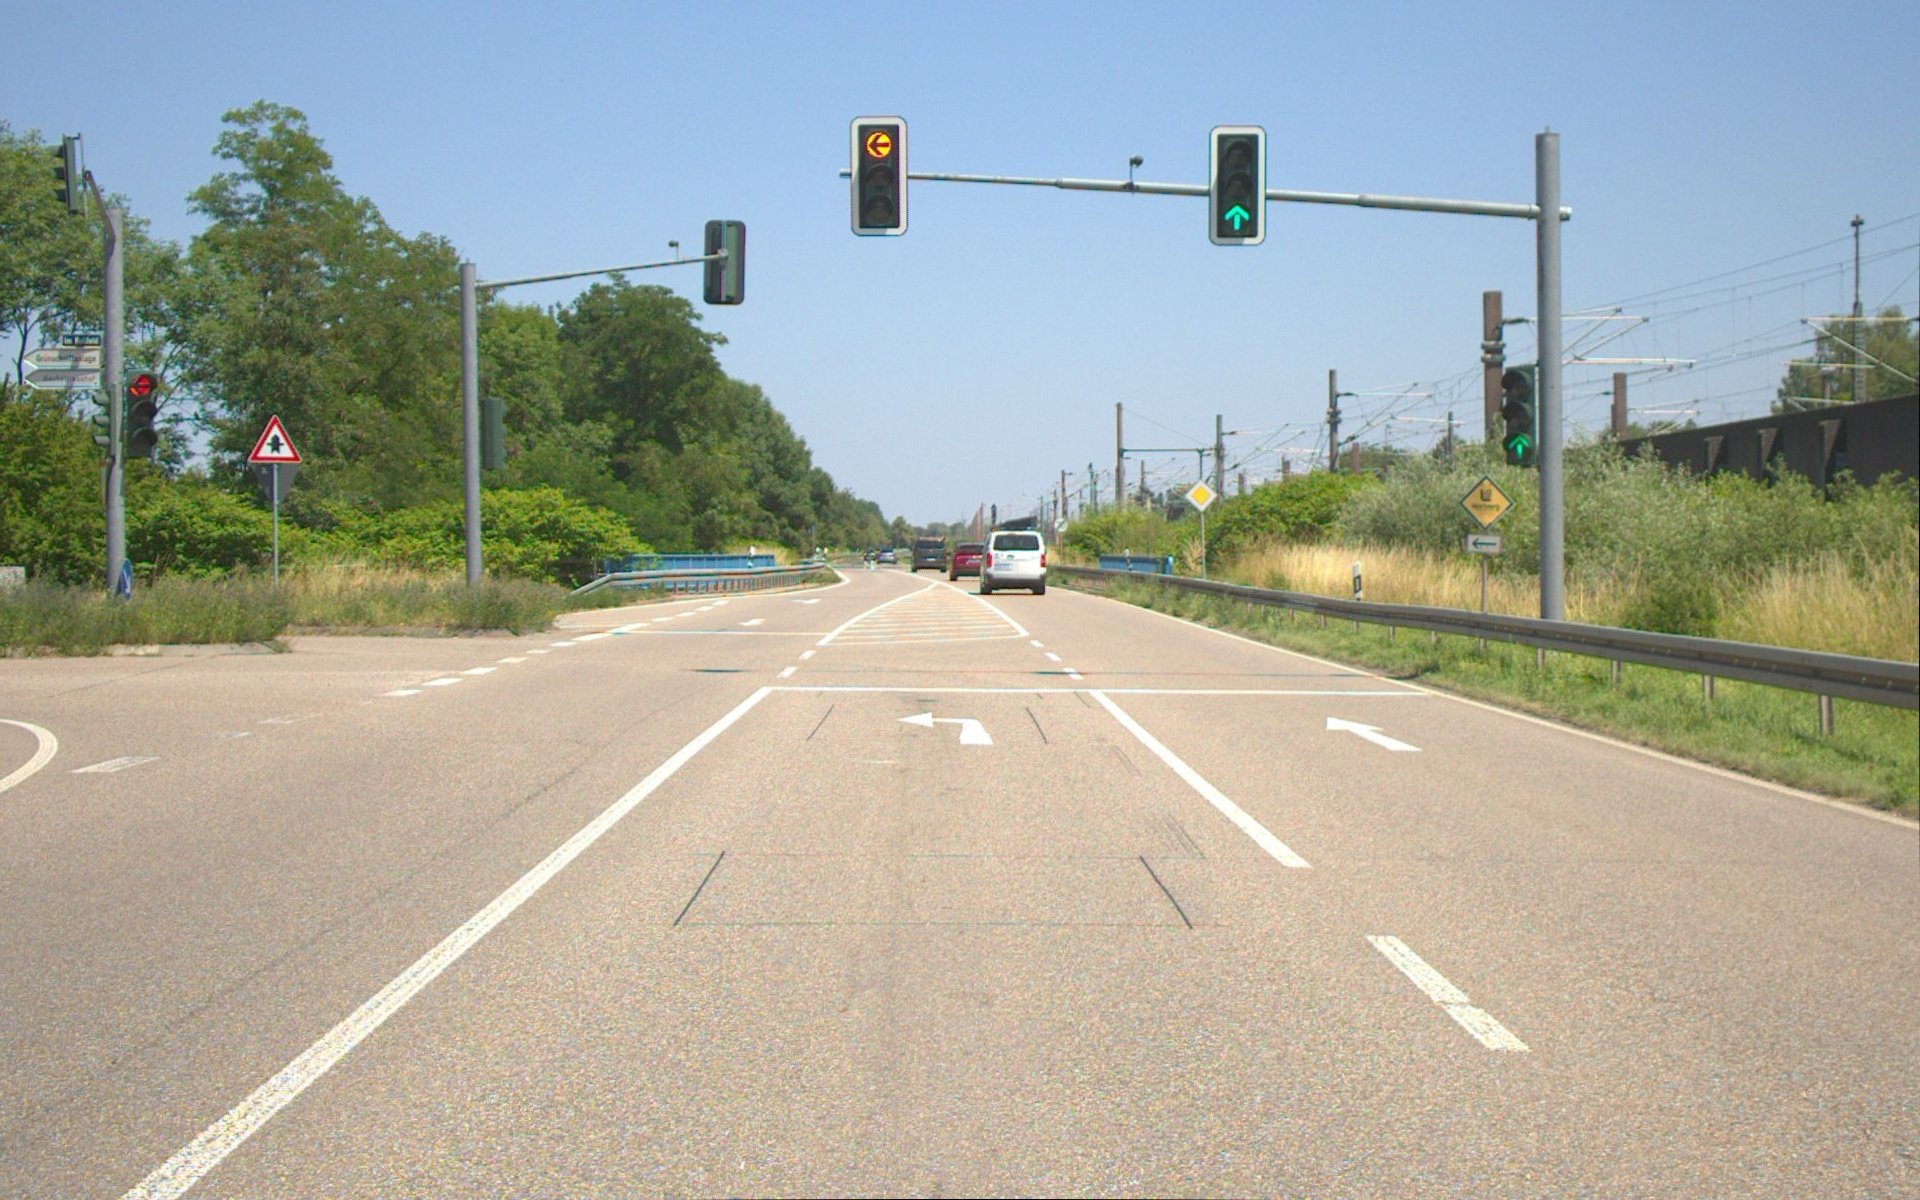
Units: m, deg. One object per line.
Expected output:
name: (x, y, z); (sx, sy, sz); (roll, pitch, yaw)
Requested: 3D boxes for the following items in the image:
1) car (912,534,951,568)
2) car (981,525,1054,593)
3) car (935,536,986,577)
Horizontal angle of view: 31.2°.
car: (-1.695, -2.918, 204.372); (2.154, 1.961, 4.543); (1, 1, -2)
car: (1.732, -1.270, 104.961); (1.993, 1.977, 4.060); (1, 1, -2)
car: (0.005, -1.880, 147.785); (2.019, 1.720, 4.543); (1, 1, -2)
